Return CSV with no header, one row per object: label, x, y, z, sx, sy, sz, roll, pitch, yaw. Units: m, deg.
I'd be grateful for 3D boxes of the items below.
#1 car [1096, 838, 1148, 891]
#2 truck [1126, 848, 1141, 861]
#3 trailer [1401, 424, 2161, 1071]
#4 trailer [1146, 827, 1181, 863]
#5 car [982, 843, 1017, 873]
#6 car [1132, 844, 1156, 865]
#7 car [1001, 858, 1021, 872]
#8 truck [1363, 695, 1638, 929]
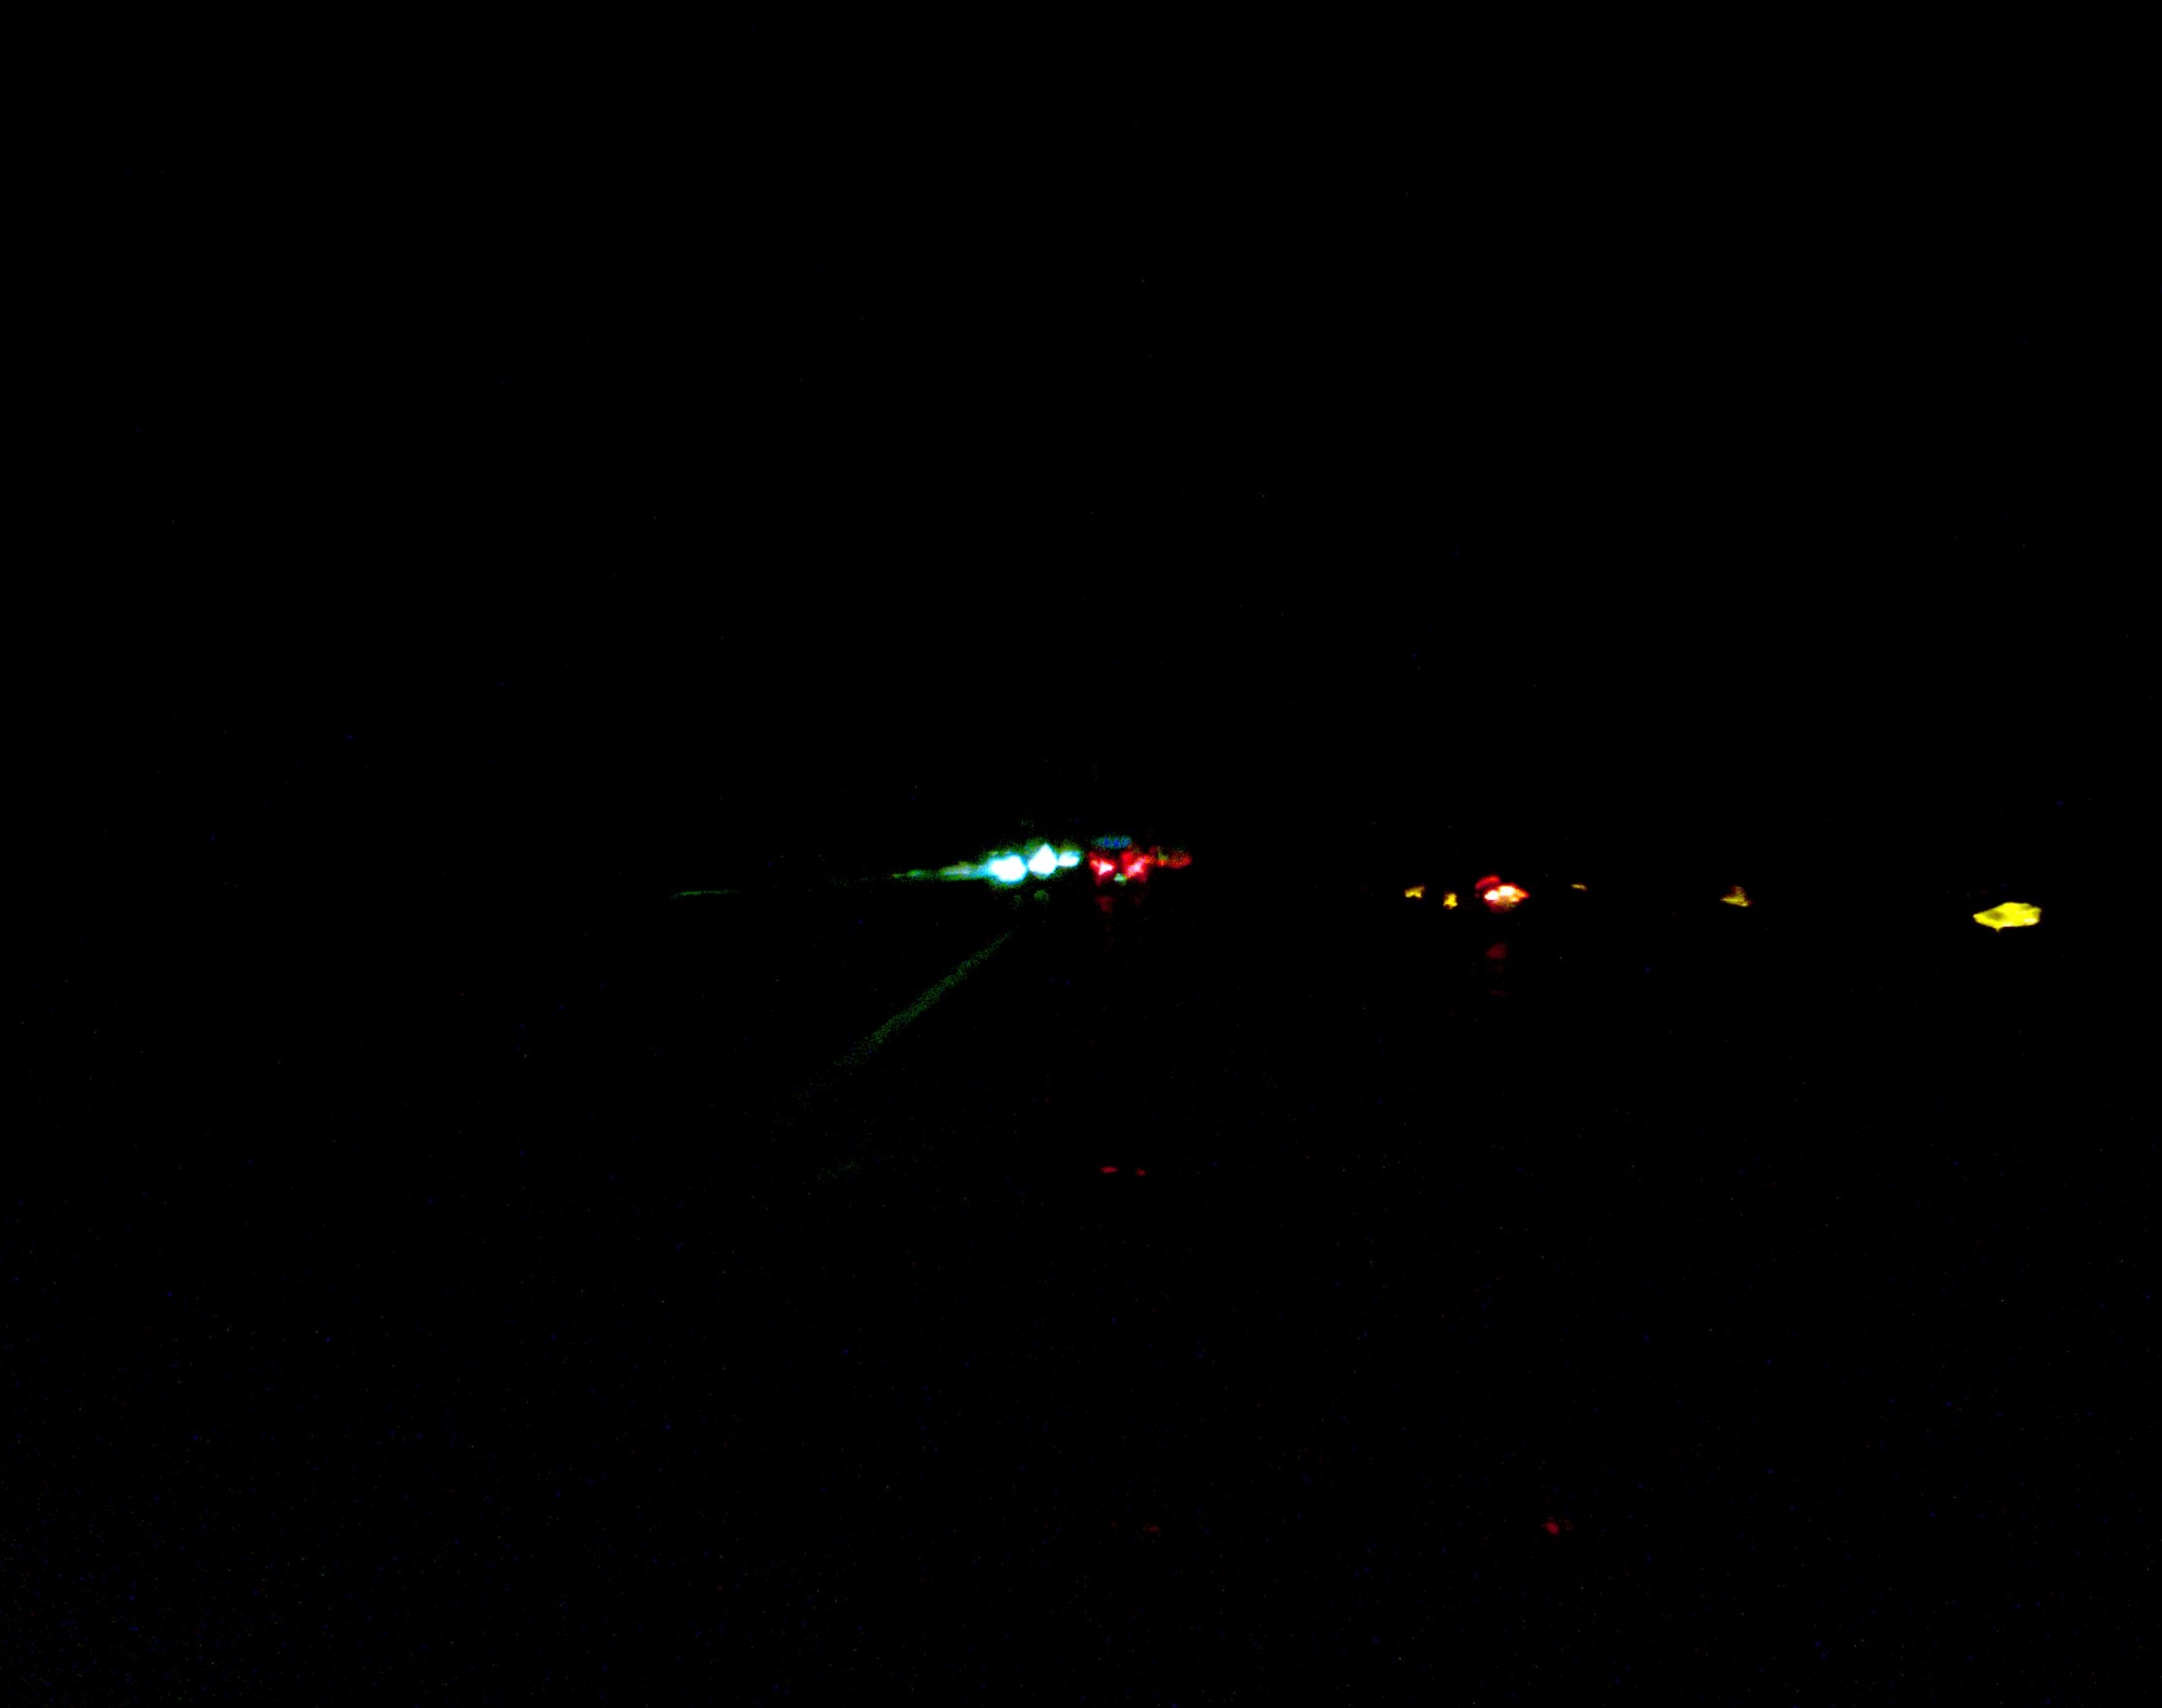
car,1.649,0.430,33.885,1.986,2.014,4.001,-2,-1,1
truck,13.561,0.209,212.276,3.027,3.297,11.379,-3,-1,0
trailer,8.504,-0.734,11.013,2.892,4.108,14.493,-3,0,2
trailer,10.358,-1.048,103.807,3.031,4.108,13.827,-3,-1,0
car,-13.201,0.600,132.935,3.687,4.728,10.612,-1,1,5
car,6.497,0.063,84.741,1.988,2.013,3.997,-3,-1,-2
car,-9.065,1.354,105.718,1.986,1.663,4.811,-3,0,2
truck,8.682,-0.771,17.862,2.892,4.108,6.033,-3,0,2
